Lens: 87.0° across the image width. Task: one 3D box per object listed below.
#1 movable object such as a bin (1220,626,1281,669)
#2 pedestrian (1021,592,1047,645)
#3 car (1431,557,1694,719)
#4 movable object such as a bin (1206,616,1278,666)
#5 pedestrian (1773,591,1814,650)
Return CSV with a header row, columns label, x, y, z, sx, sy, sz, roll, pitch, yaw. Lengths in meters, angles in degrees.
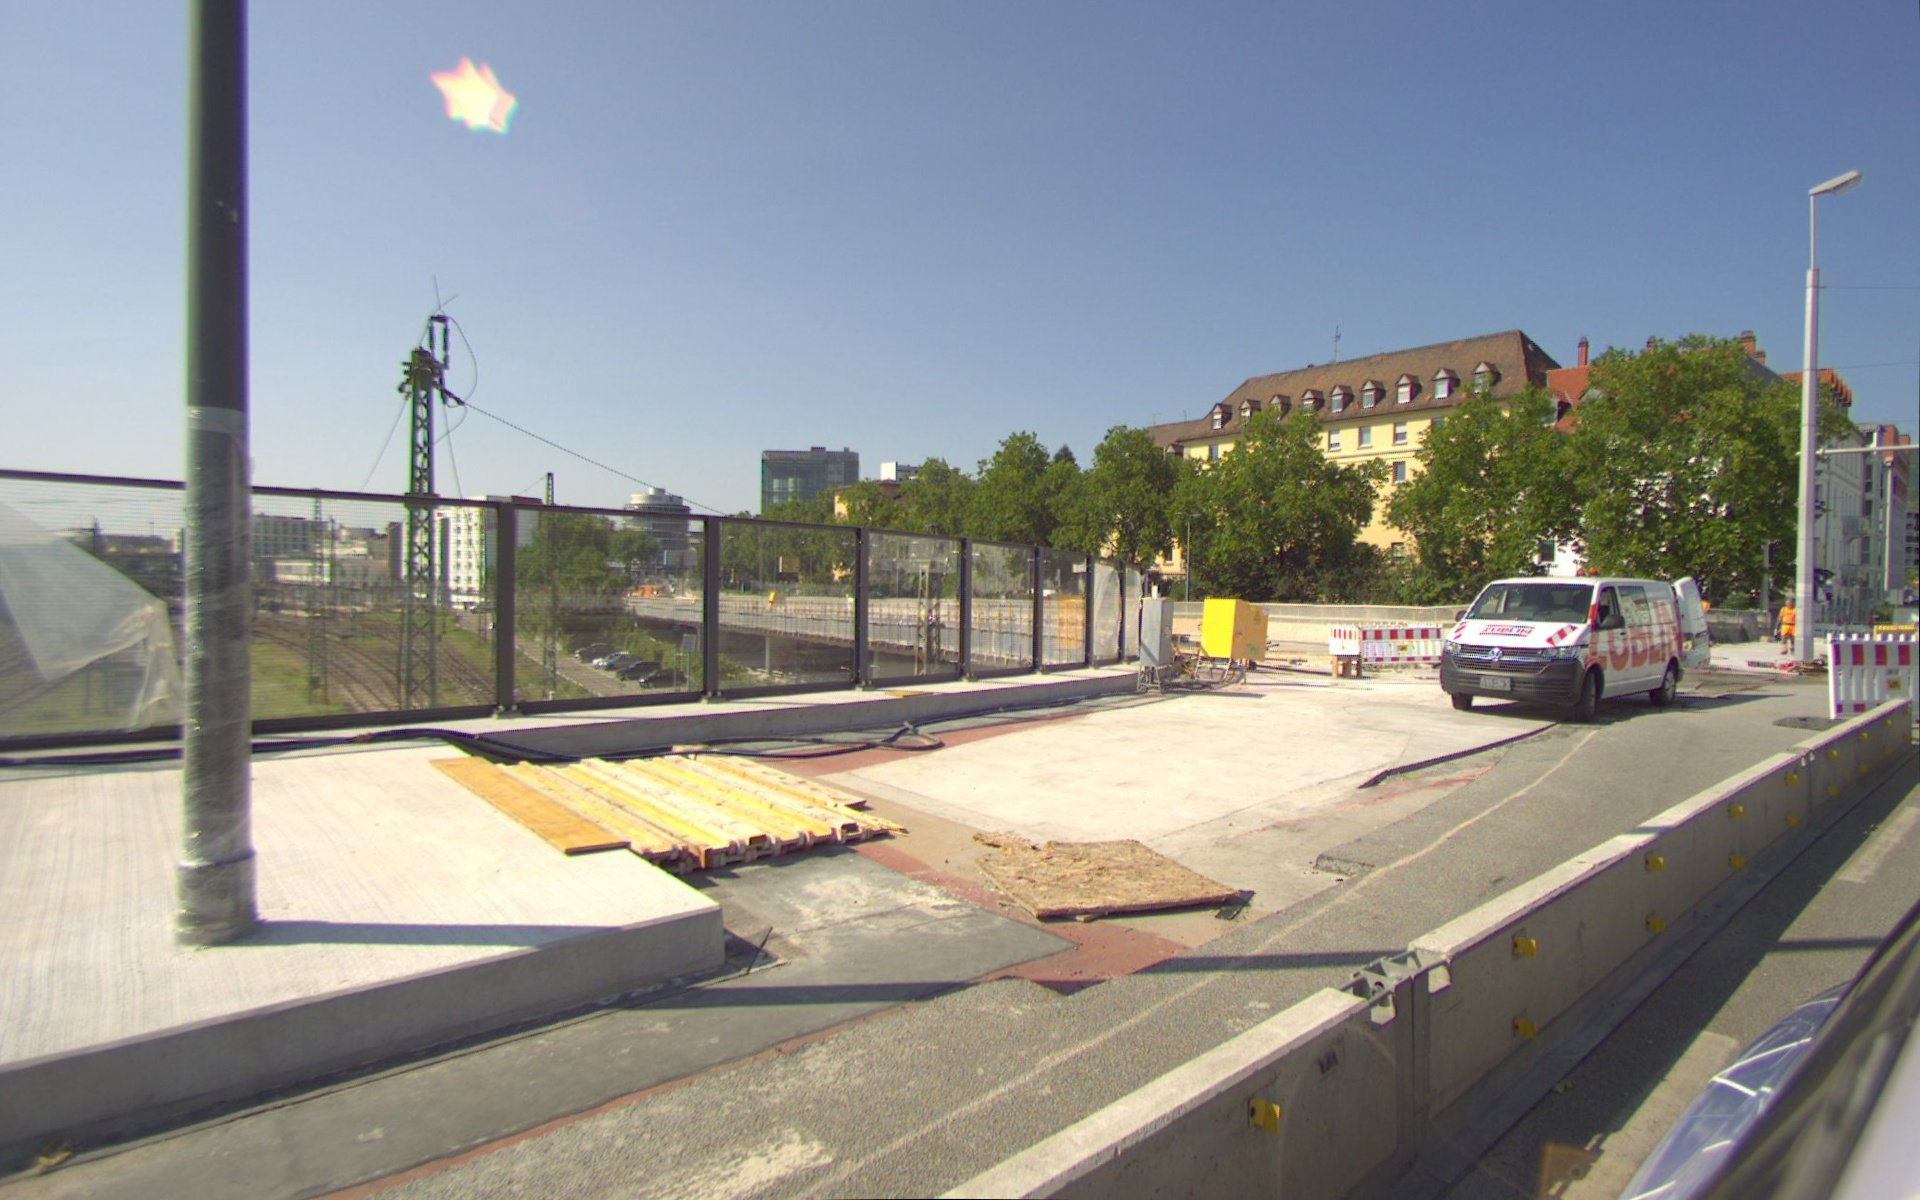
label,x,y,z,sx,sy,sz,roll,pitch,yaw
movable object such as a bin,6.549,1.065,22.845,1.083,0.853,0.757,4,0,-1
pedestrian,3.384,0.840,46.171,0.867,2.363,0.792,-4,-3,24
car,9.092,0.480,15.087,4.803,2.059,1.882,0,0,-40
movable object such as a bin,6.829,0.995,24.633,0.595,1.144,2.045,-2,-2,-18
pedestrian,26.668,0.651,32.369,0.849,1.817,0.821,1,2,-42
